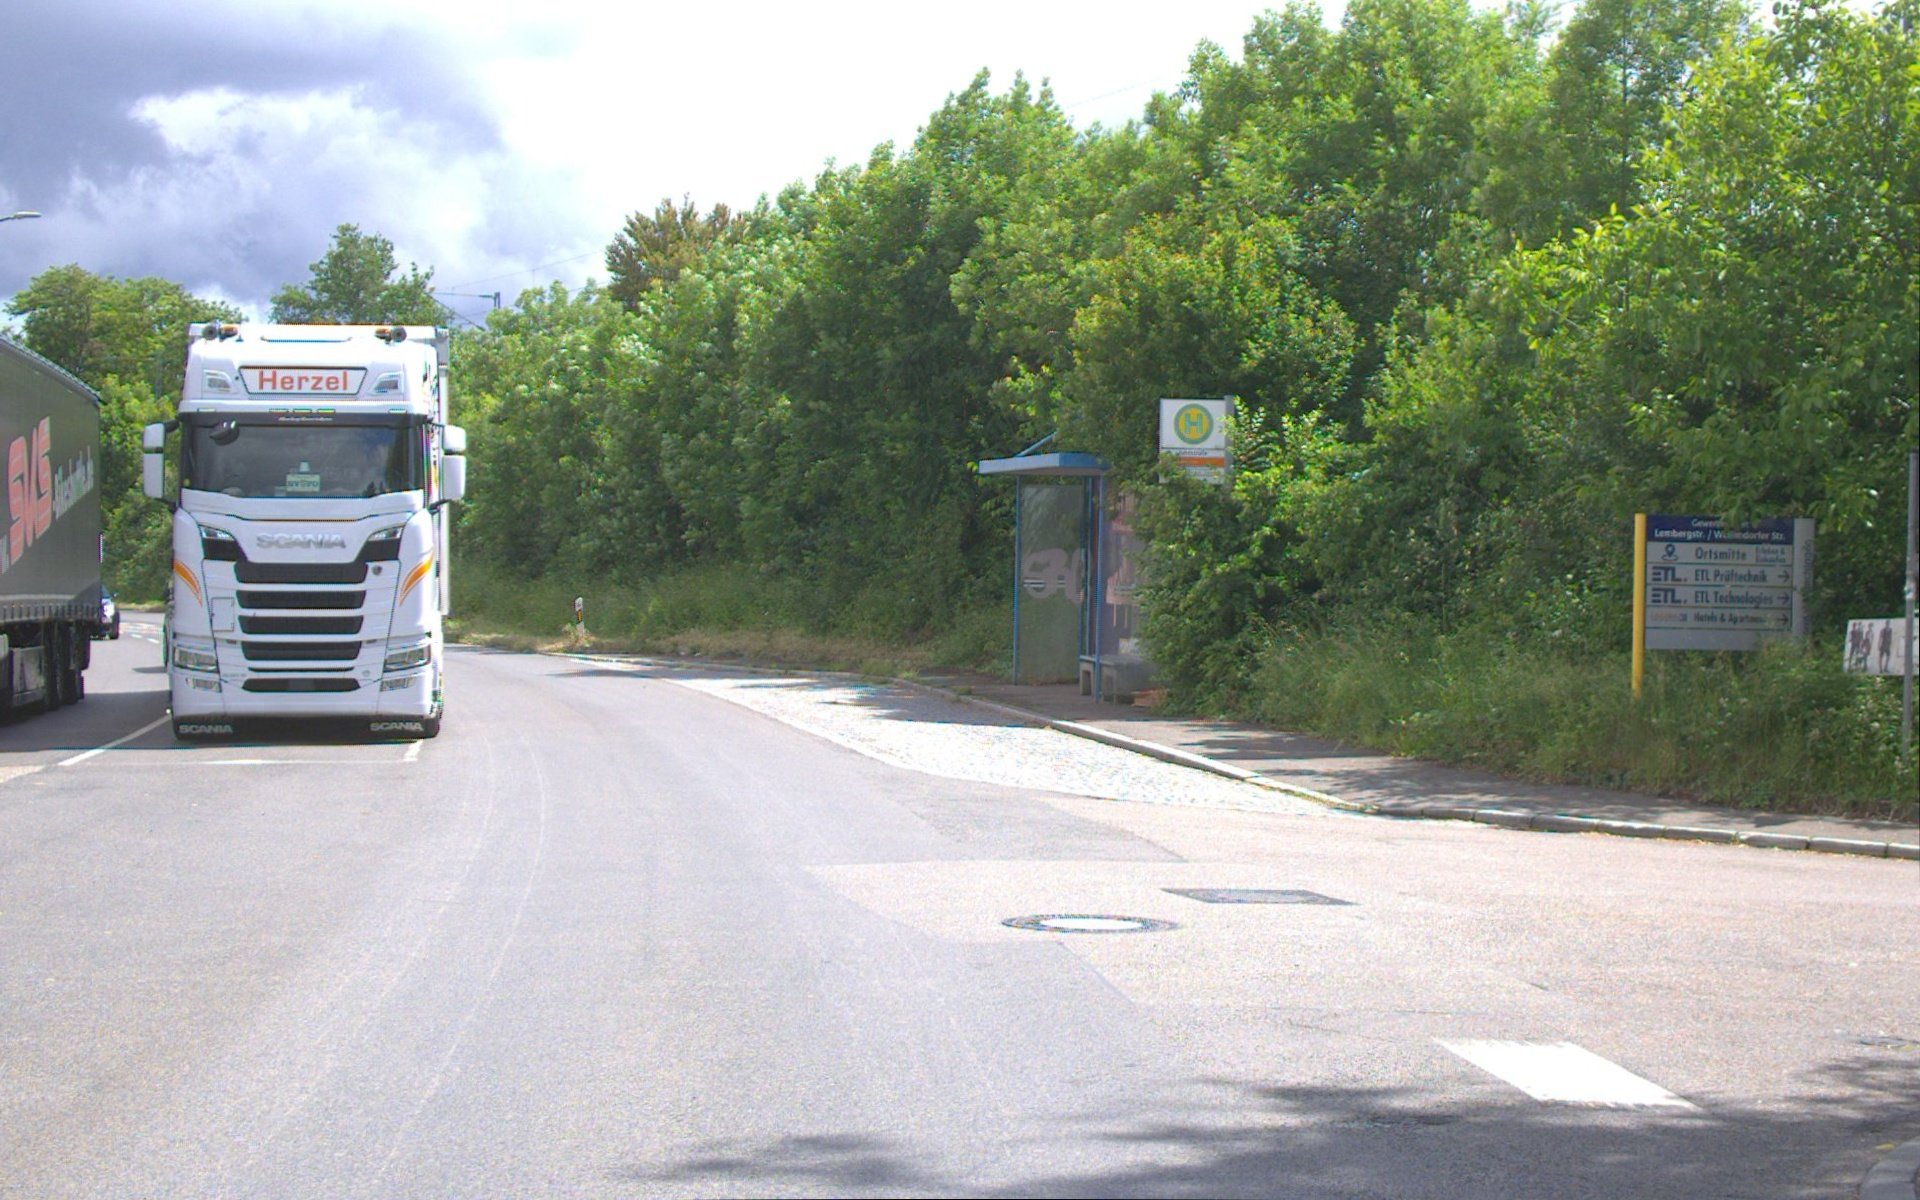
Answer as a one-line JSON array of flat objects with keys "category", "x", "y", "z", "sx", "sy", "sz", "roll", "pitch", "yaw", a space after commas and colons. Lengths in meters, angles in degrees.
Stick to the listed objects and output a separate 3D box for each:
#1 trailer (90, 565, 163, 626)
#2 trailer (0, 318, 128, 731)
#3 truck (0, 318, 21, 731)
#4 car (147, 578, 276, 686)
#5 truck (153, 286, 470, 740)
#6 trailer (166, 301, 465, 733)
[{"category": "trailer", "x": -20.240, "y": -0.137, "z": 83.589, "sx": 1.647, "sy": 1.418, "sz": 4.001, "roll": 0, "pitch": 1, "yaw": -13}, {"category": "trailer", "x": -11.486, "y": -0.764, "z": 38.242, "sx": 2.798, "sy": 4.039, "sz": 15.559, "roll": 1, "pitch": 0, "yaw": -8}, {"category": "truck", "x": -10.507, "y": -0.746, "z": 31.521, "sx": 2.798, "sy": 4.039, "sz": 6.502, "roll": 1, "pitch": 0, "yaw": -8}, {"category": "car", "x": -12.487, "y": 0.517, "z": 57.269, "sx": 1.993, "sy": 1.700, "sz": 4.001, "roll": 1, "pitch": 0, "yaw": -13}, {"category": "truck", "x": -6.393, "y": -0.791, "z": 34.016, "sx": 2.770, "sy": 4.105, "sz": 4.988, "roll": 1, "pitch": 0, "yaw": -10}, {"category": "trailer", "x": -7.639, "y": -0.815, "z": 40.957, "sx": 2.770, "sy": 4.131, "sz": 15.355, "roll": 1, "pitch": 0, "yaw": -10}]
